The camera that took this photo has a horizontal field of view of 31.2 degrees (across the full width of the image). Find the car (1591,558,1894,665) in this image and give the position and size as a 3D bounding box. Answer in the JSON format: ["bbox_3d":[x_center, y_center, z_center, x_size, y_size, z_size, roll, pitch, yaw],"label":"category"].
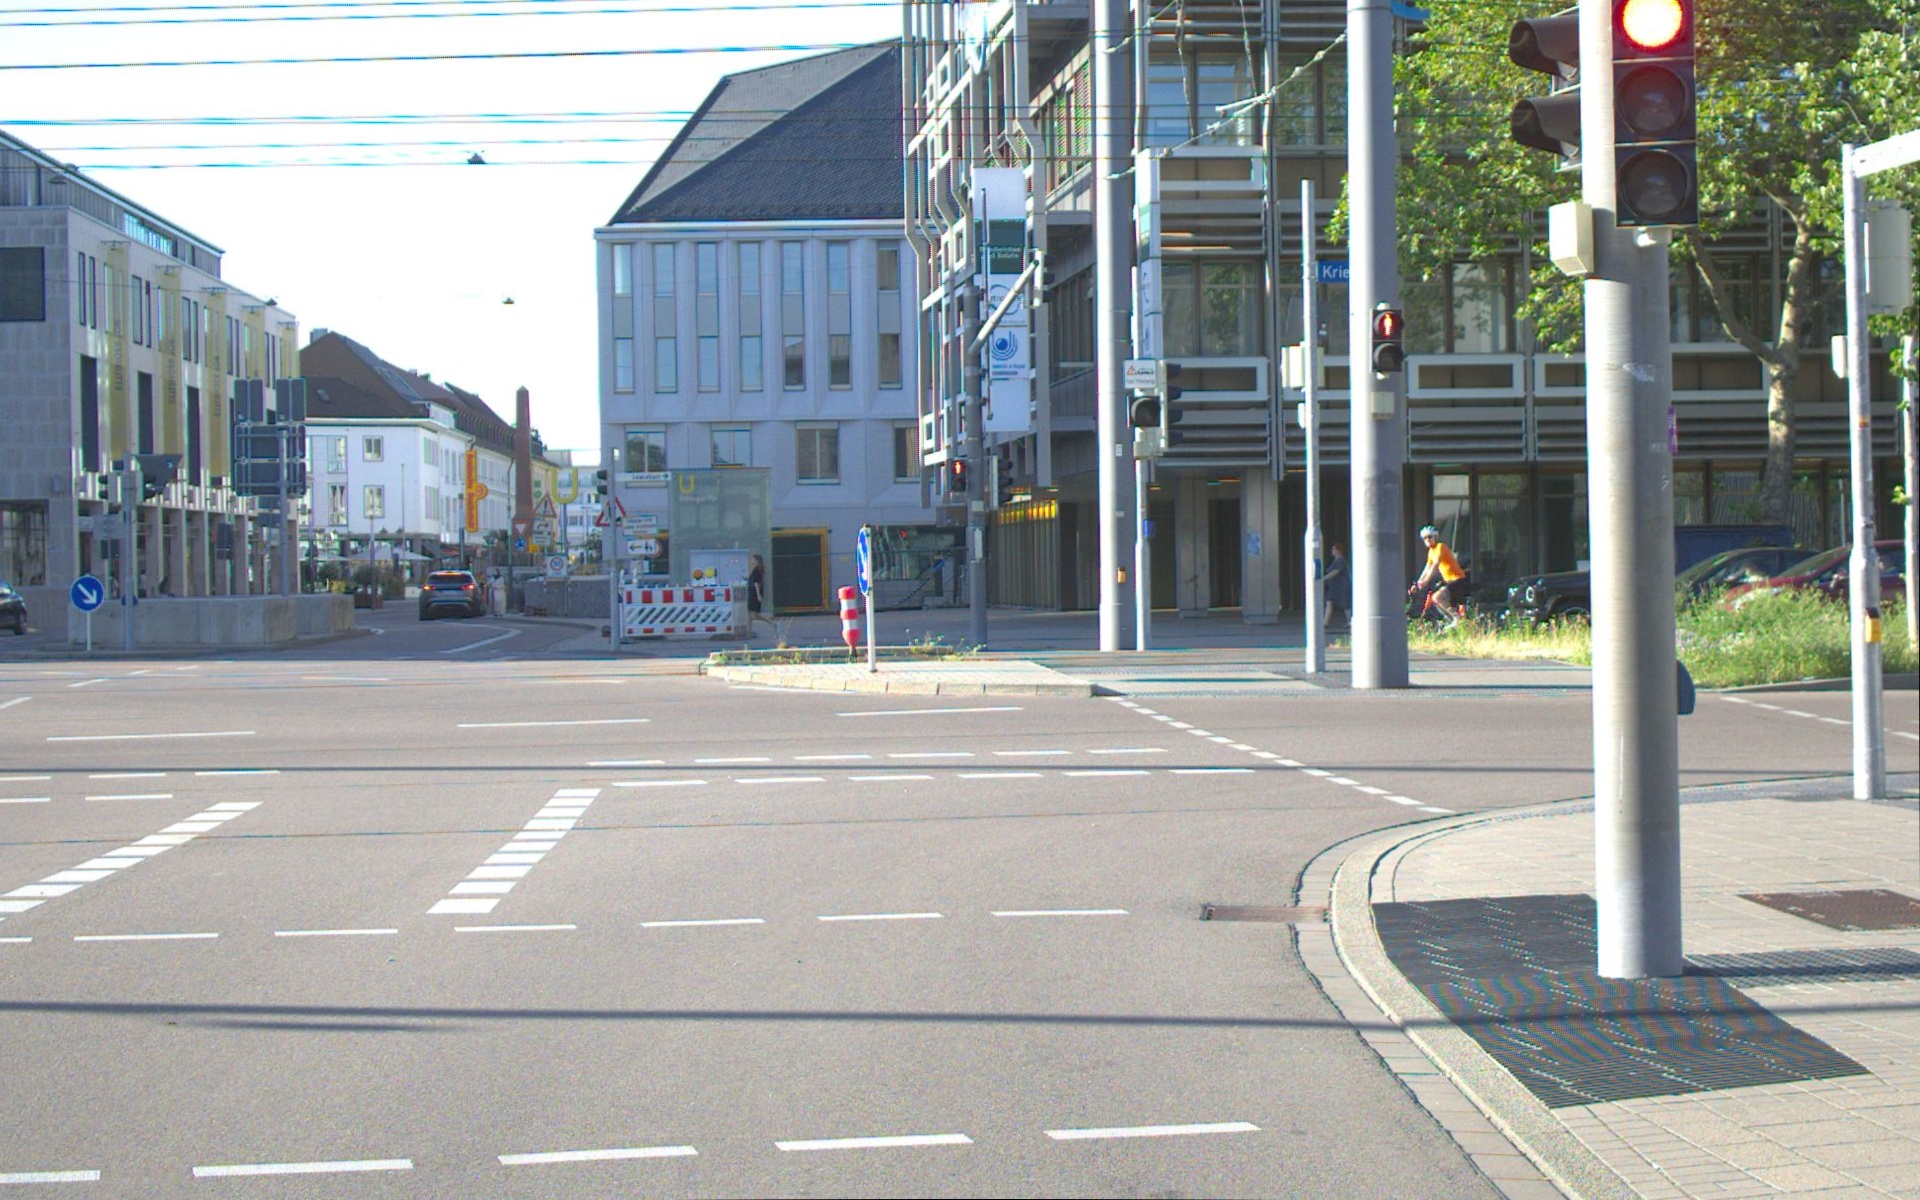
[{"bbox_3d":[11.493,0.156,50.660,3.986,1.503,1.868,0,1,-3],"label":"car"}]

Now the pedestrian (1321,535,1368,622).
[{"bbox_3d":[7.378,-0.414,65.993,0.729,1.652,0.651,-1,1,-7],"label":"pedestrian"}]

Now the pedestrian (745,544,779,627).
[{"bbox_3d":[-3.983,-0.294,69.305,0.663,1.652,0.755,-1,1,-3],"label":"pedestrian"}]

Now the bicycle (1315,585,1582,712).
[{"bbox_3d":[6.692,0.648,47.146,3.490,1.653,0.932,-1,1,-9],"label":"bicycle"}]

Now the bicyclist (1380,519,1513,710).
[{"bbox_3d":[6.661,0.188,47.139,1.567,2.571,0.932,-1,1,-9],"label":"bicyclist"}]

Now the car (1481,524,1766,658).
[{"bbox_3d":[10.344,-0.145,53.777,3.986,2.007,2.000,1,0,-3],"label":"car"}]

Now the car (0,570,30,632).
[{"bbox_3d":[-24.793,0.018,86.620,1.993,1.481,4.001,-1,1,-6],"label":"car"}]

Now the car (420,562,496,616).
[{"bbox_3d":[-15.809,-0.354,108.422,2.199,1.601,4.327,-1,1,-6],"label":"car"}]

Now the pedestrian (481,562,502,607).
[{"bbox_3d":[-14.755,-0.483,108.248,0.609,1.406,0.570,-1,1,-6],"label":"pedestrian"}]

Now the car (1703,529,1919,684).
[{"bbox_3d":[12.286,0.086,46.409,3.986,2.007,2.000,1,0,-3],"label":"car"}]
